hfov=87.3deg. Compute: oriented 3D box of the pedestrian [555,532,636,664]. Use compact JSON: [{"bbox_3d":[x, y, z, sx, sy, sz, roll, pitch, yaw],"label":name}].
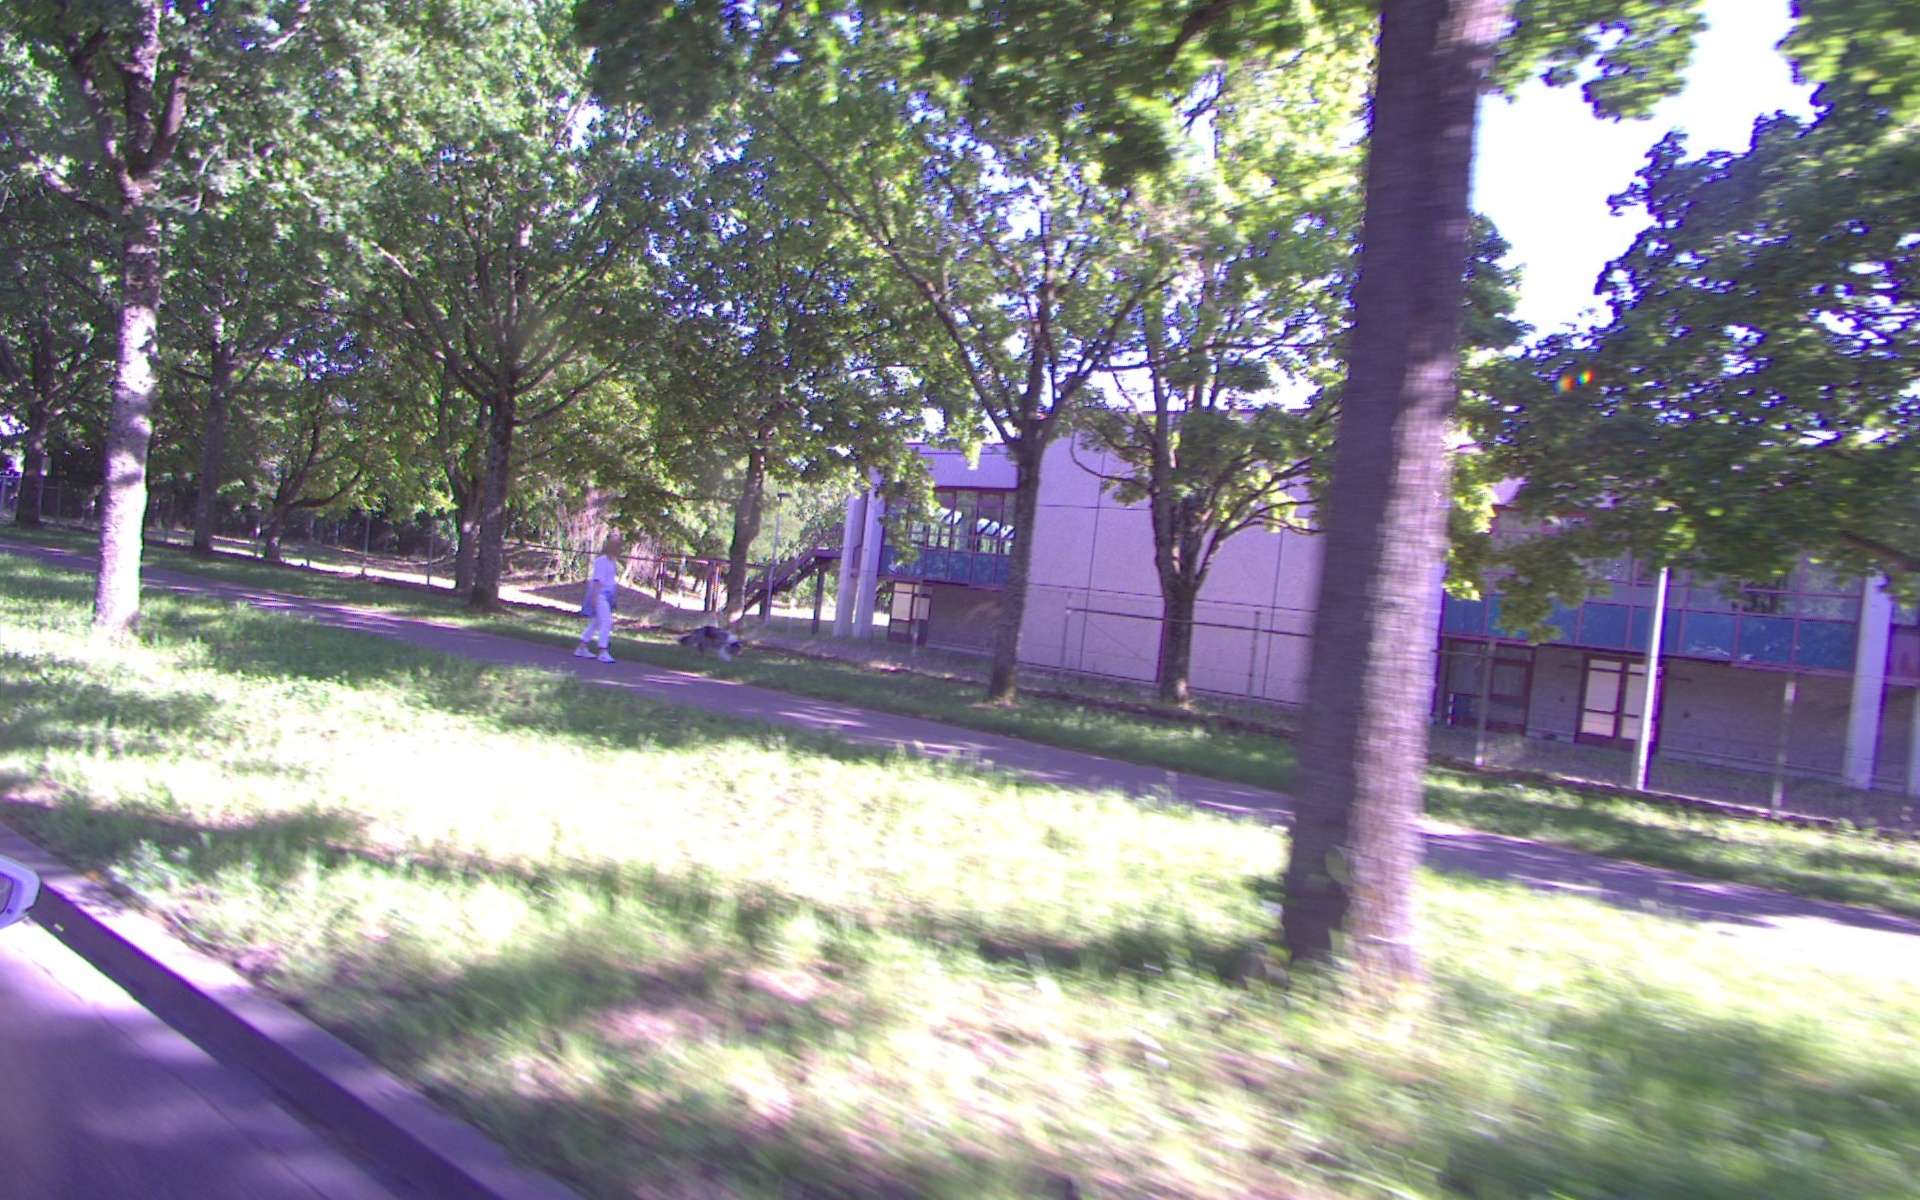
[{"bbox_3d":[-4.877,-0.030,13.485,0.705,1.653,0.609,6,3,5],"label":"pedestrian"}]
